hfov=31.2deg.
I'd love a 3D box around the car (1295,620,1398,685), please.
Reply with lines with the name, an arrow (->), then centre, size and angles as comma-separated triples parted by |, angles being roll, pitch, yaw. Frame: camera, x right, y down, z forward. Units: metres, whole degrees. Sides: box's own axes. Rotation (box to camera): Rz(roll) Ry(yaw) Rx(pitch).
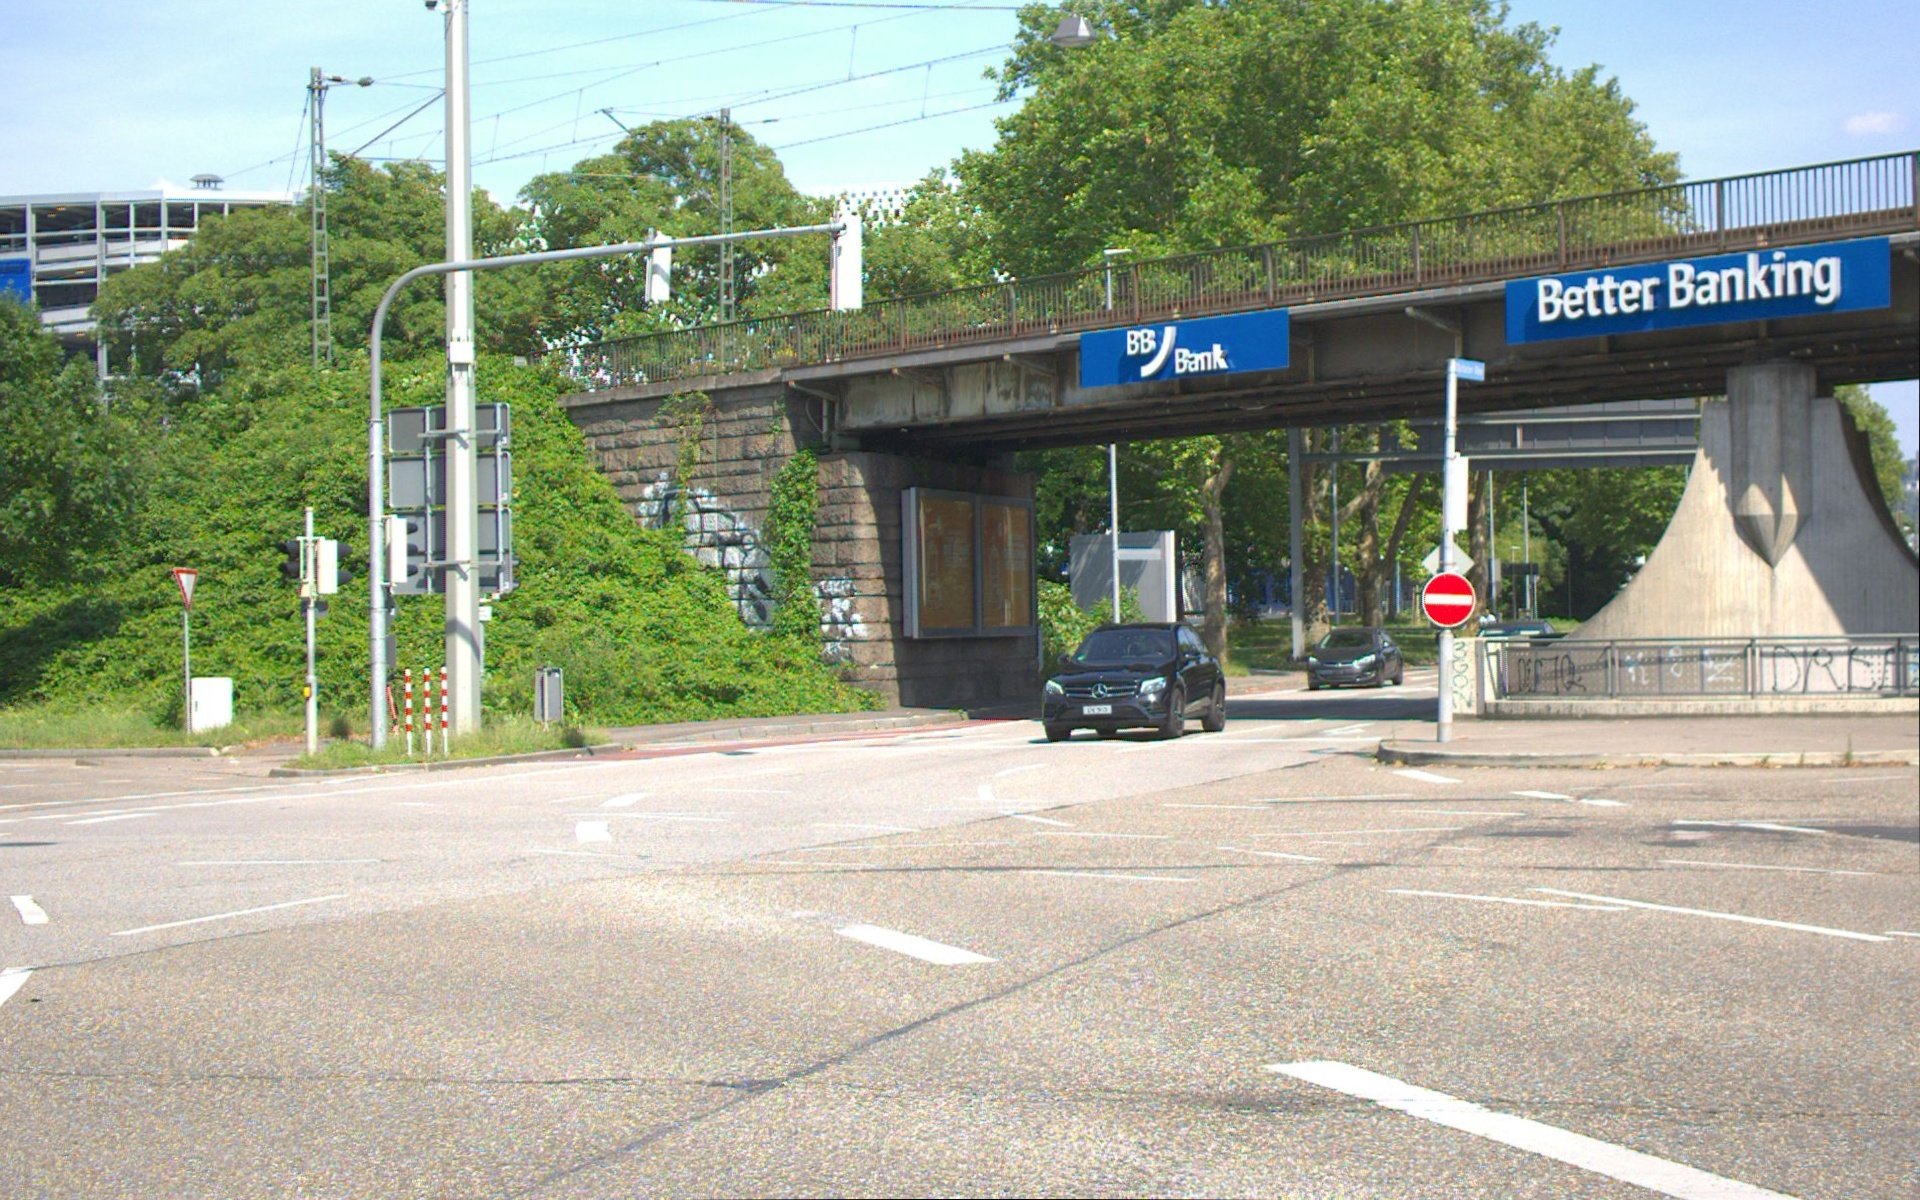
car -> 9.346, 1.263, 82.907 | 1.823, 1.501, 4.213 | -1, -1, 15

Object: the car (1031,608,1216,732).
car -> 2.380, 0.967, 48.988 | 1.994, 1.590, 4.443 | -1, 1, 11
